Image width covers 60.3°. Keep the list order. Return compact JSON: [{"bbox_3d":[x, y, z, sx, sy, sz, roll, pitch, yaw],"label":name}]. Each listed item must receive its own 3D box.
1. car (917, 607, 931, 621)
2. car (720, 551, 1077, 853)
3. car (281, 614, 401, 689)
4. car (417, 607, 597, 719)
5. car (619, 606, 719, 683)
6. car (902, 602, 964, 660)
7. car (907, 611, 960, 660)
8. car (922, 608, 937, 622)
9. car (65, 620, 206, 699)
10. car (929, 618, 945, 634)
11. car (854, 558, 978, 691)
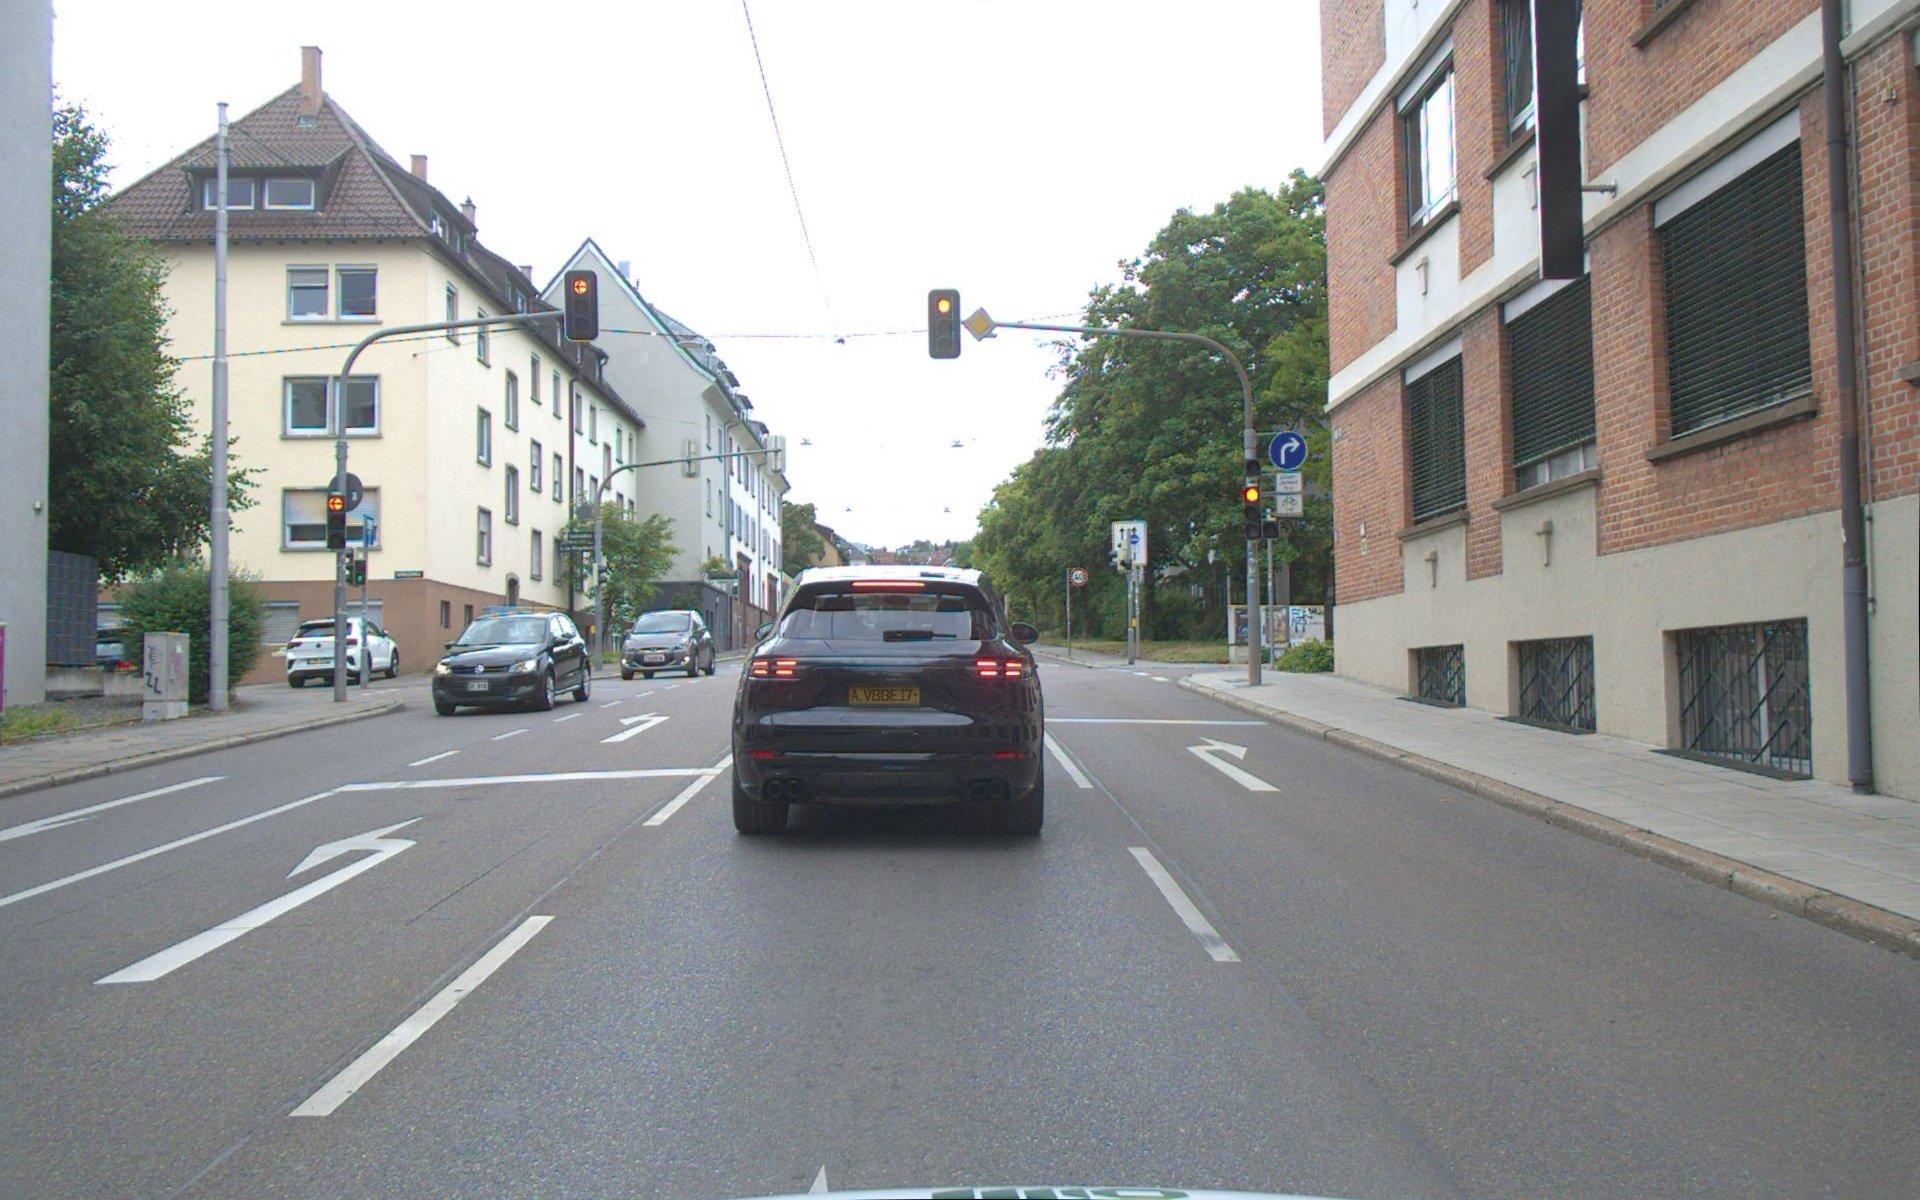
[{"bbox_3d":[-4.667,1.821,216.596,1.790,1.633,4.134,1,0,-1],"label":"car"},{"bbox_3d":[-0.366,0.571,11.555,2.007,1.695,4.266,1,0,-1],"label":"car"},{"bbox_3d":[-14.843,1.198,39.835,1.658,1.582,3.762,-3,1,-5],"label":"car"},{"bbox_3d":[-6.724,0.883,24.919,1.639,1.424,3.794,-3,0,-1],"label":"car"},{"bbox_3d":[-6.883,1.015,39.445,1.669,1.614,3.936,-3,0,-1],"label":"car"},{"bbox_3d":[-0.800,0.914,50.220,1.790,1.633,4.134,1,0,-1],"label":"car"},{"bbox_3d":[-0.926,1.243,58.931,1.790,1.633,3.858,1,0,-1],"label":"car"},{"bbox_3d":[-3.848,1.905,209.285,1.790,1.633,4.134,1,0,-1],"label":"car"},{"bbox_3d":[-19.676,1.376,39.630,1.658,1.636,3.762,-3,1,-5],"label":"car"},{"bbox_3d":[-2.626,2.966,188.826,1.790,1.633,4.134,1,0,-1],"label":"car"},{"bbox_3d":[-0.715,0.372,28.304,1.925,2.078,4.134,1,0,-1],"label":"car"}]
